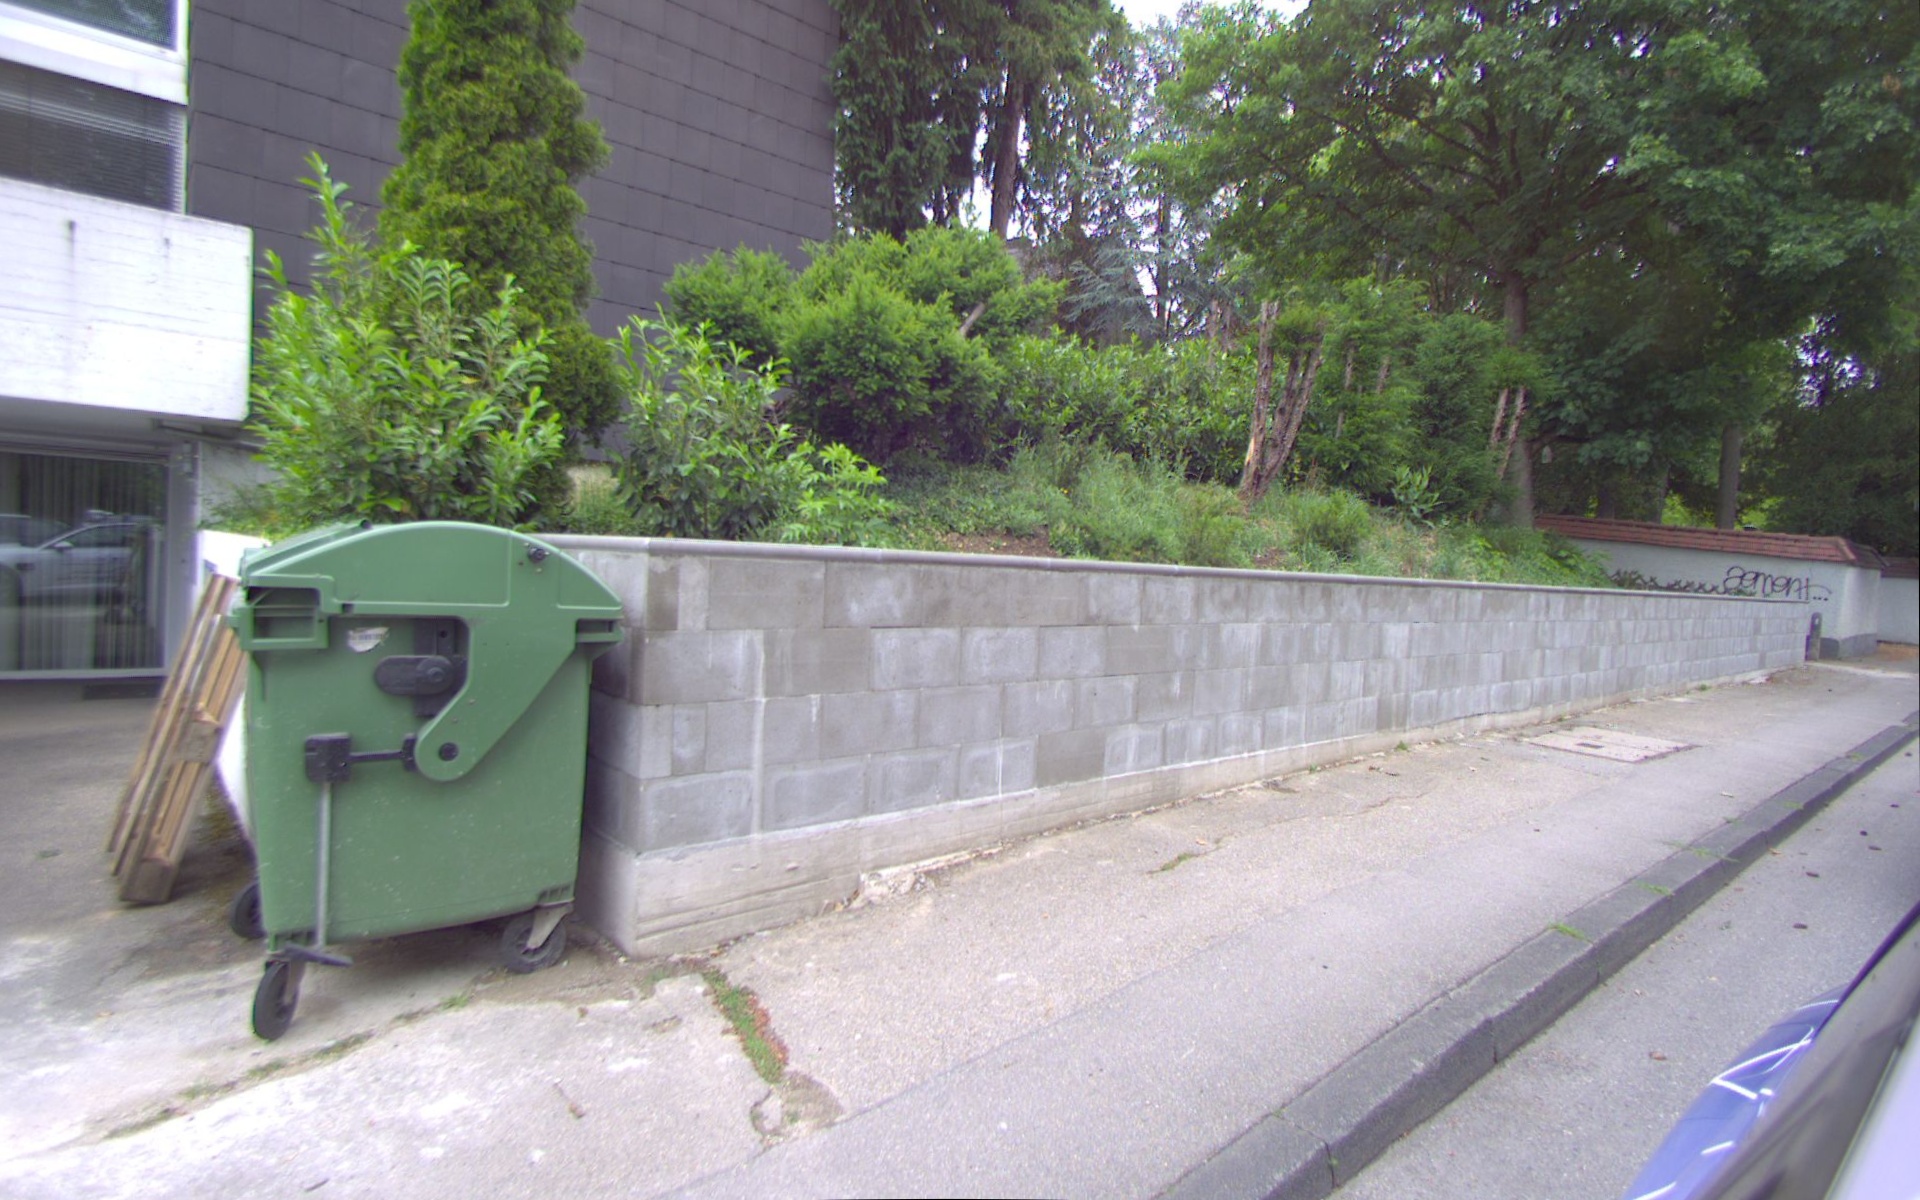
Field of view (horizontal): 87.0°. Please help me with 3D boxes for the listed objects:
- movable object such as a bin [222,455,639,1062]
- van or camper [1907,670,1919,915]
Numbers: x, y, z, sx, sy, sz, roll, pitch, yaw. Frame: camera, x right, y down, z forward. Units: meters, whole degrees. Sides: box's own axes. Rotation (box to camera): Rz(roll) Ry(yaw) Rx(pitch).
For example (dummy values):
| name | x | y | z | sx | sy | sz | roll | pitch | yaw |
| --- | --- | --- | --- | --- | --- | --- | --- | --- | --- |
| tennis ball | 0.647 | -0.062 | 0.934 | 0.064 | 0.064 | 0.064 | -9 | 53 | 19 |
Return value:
| name | x | y | z | sx | sy | sz | roll | pitch | yaw |
| --- | --- | --- | --- | --- | --- | --- | --- | --- | --- |
| movable object such as a bin | -1.747 | 0.382 | 3.294 | 1.014 | 1.549 | 1.037 | 0 | 2 | -39 |
| van or camper | 6.247 | 0.540 | 5.012 | 4.124 | 1.693 | 1.800 | 0 | 3 | -41 |
